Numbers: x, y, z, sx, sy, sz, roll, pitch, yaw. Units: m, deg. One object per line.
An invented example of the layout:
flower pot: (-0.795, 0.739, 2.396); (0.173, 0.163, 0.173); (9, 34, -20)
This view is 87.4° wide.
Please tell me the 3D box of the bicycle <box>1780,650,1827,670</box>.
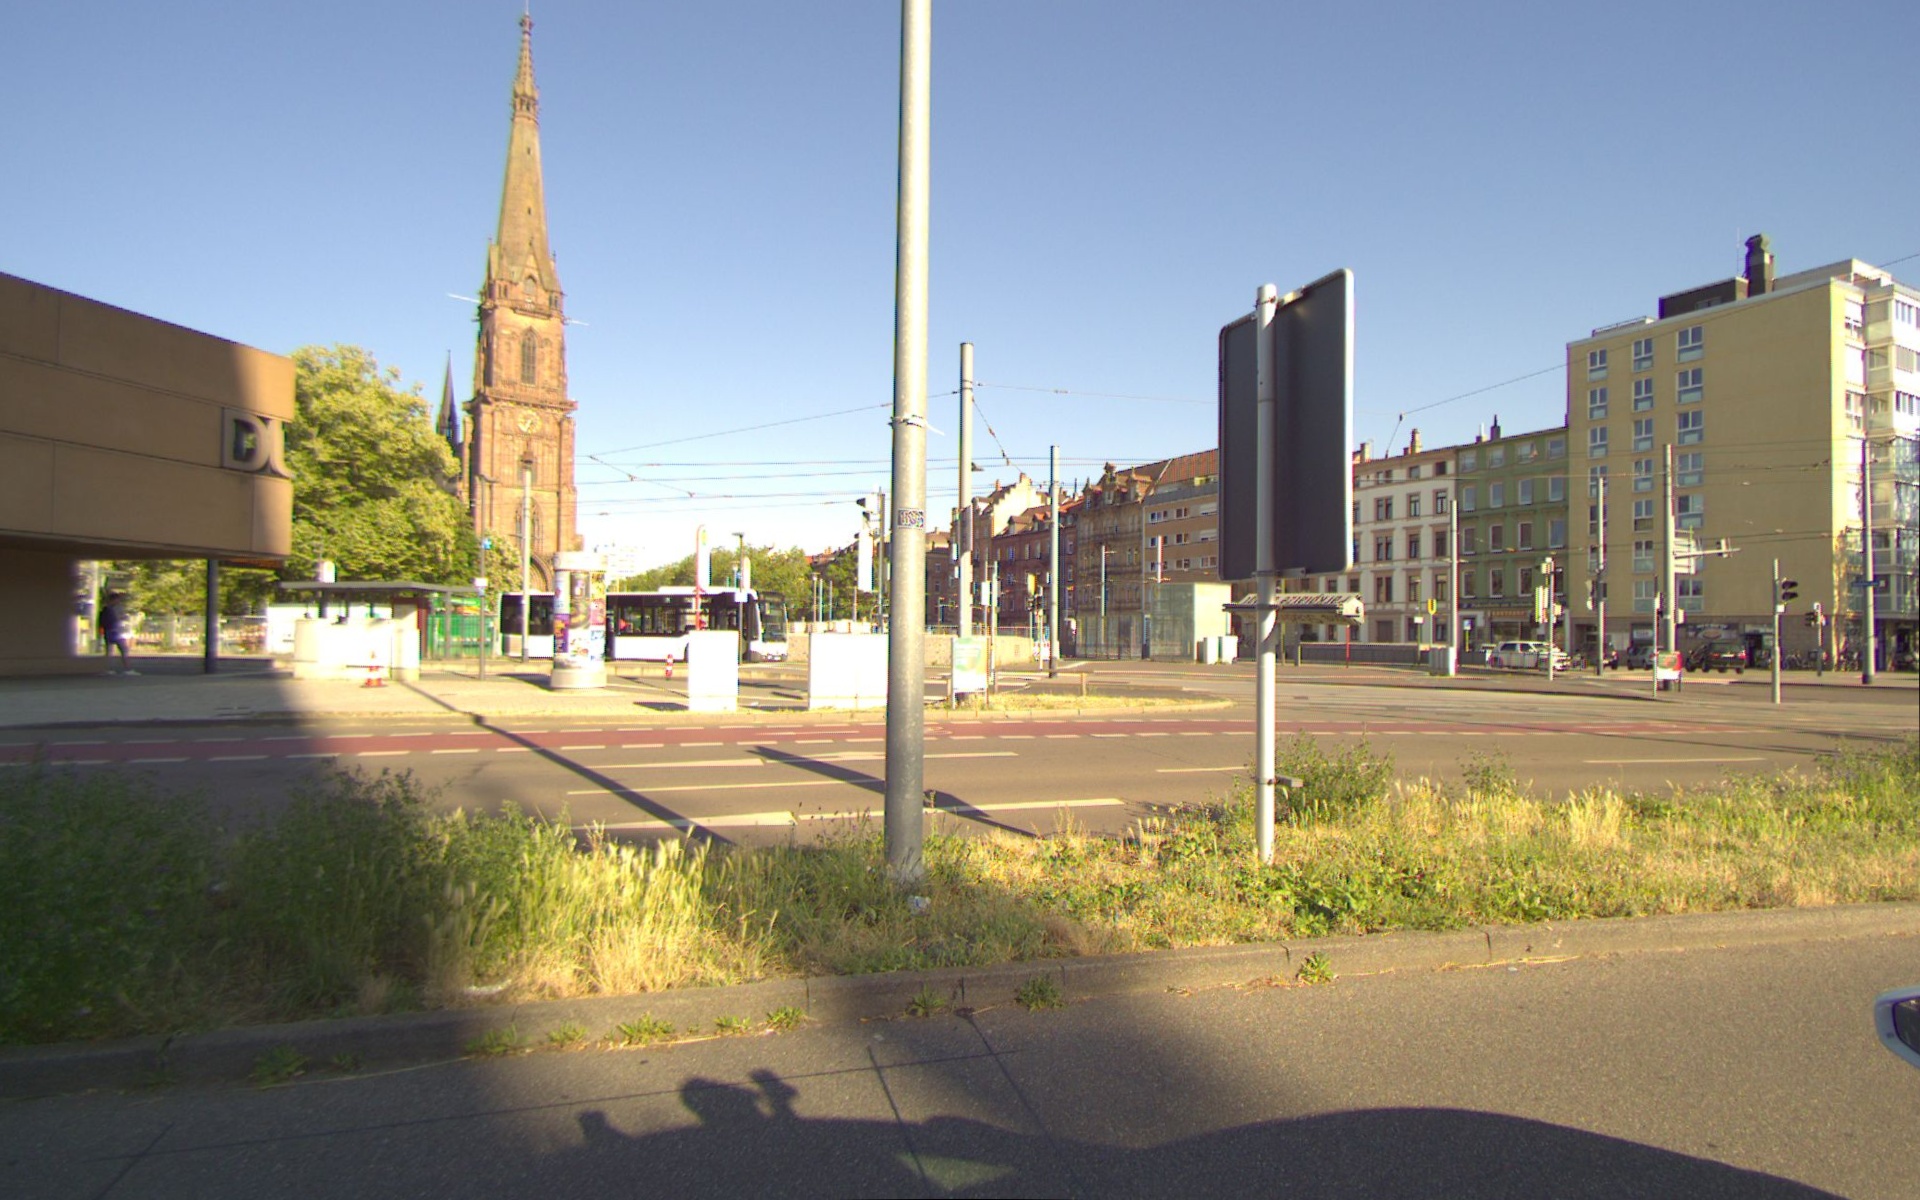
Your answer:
bicycle: (50.386, 3.589, 60.003); (0.768, 1.104, 2.033); (2, -2, -29)

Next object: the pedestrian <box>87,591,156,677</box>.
pedestrian: (-20.131, 0.819, 24.128); (0.704, 2.007, 0.981); (-1, -3, 15)

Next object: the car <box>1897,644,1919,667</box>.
car: (62.253, 3.566, 63.635); (1.793, 1.441, 3.965); (2, -2, -32)

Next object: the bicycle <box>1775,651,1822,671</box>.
bicycle: (49.683, 3.592, 59.541); (0.768, 1.104, 2.033); (2, -2, -29)

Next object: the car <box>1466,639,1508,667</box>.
car: (35.971, 3.564, 68.637); (2.046, 1.742, 4.009); (-1, -1, 20)

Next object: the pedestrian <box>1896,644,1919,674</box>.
pedestrian: (54.241, 3.356, 57.482); (0.773, 1.698, 0.773); (2, -2, -27)

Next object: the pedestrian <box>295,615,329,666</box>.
pedestrian: (-26.012, 1.620, 40.309); (0.740, 2.007, 0.817); (-1, -3, 17)

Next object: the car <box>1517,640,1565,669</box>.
car: (37.654, 3.498, 65.161); (2.046, 1.742, 4.009); (-1, -1, 20)

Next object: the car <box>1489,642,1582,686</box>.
car: (29.885, 3.279, 52.220); (1.976, 2.040, 3.718); (0, -1, -29)

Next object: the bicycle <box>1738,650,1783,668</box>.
bicycle: (49.338, 3.627, 61.948); (0.768, 1.104, 2.033); (2, -2, -29)

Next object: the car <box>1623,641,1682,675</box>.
car: (40.686, 3.367, 59.099); (1.803, 1.771, 4.001); (-1, -1, 18)

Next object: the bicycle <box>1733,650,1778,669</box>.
bicycle: (48.632, 3.630, 61.443); (0.768, 1.104, 2.033); (2, -2, -29)

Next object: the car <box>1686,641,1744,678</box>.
car: (42.414, 3.303, 56.504); (1.818, 1.882, 3.996); (-1, -1, 26)

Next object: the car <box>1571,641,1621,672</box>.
car: (39.159, 3.438, 61.942); (1.804, 1.742, 3.999); (-1, -1, 20)

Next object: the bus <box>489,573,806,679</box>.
bus: (-12.396, 1.018, 39.814); (11.942, 3.359, 3.254); (3, -4, 16)
